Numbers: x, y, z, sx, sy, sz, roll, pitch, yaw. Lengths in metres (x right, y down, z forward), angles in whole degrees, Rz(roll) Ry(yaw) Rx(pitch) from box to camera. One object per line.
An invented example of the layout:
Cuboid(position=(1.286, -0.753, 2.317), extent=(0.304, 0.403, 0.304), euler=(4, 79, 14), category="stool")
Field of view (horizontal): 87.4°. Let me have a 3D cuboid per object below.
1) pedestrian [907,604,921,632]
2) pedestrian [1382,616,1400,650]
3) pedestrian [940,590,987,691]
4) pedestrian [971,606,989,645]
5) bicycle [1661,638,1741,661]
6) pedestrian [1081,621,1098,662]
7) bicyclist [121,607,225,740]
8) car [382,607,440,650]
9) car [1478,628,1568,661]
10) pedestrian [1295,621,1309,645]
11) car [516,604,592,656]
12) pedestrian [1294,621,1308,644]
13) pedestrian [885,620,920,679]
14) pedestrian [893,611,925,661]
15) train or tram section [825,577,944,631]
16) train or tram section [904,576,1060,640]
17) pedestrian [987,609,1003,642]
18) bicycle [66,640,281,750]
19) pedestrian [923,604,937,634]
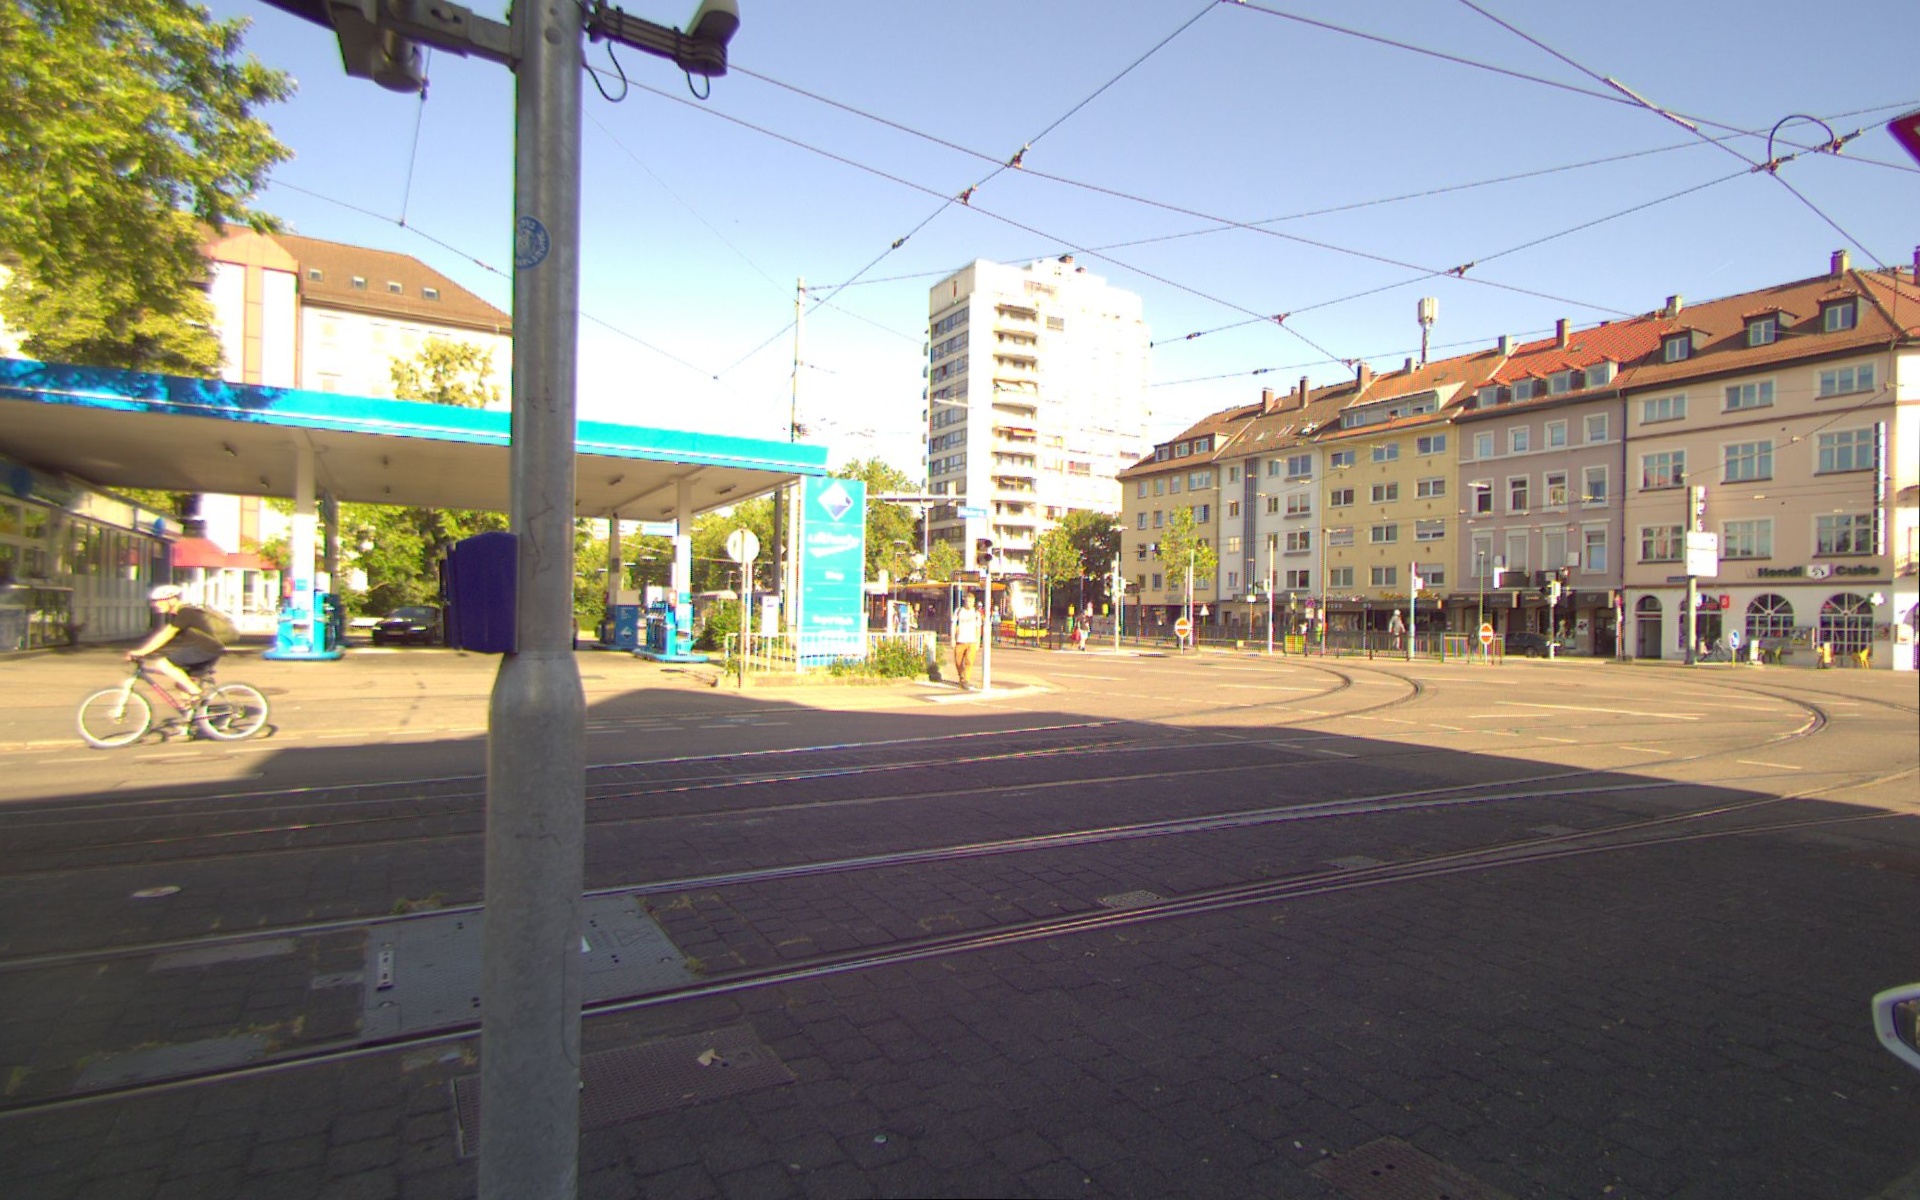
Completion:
Cuboid(position=(-2.702, 1.040, 58.781), extent=(0.580, 1.613, 0.520), euler=(2, 0, -31), category="pedestrian")
Cuboid(position=(20.811, 1.595, 48.484), extent=(0.570, 1.649, 0.522), euler=(2, 0, -31), category="pedestrian")
Cuboid(position=(0.075, 0.769, 19.353), extent=(0.778, 1.893, 0.674), euler=(2, 0, 6), category="pedestrian")
Cuboid(position=(0.999, 1.257, 50.216), extent=(0.666, 1.913, 0.520), euler=(2, 0, -31), category="pedestrian")
Cuboid(position=(37.499, 2.489, 50.894), extent=(0.989, 0.993, 3.115), euler=(2, 0, -29), category="bicycle")
Cuboid(position=(5.375, 1.720, 41.598), extent=(0.575, 1.686, 0.525), euler=(2, 0, 15), category="pedestrian")
Cuboid(position=(-8.625, 0.785, 11.009), extent=(0.552, 1.384, 0.798), euler=(2, 0, 43), category="bicyclist")
Cuboid(position=(-18.883, 0.959, 34.520), extent=(1.646, 1.316, 3.453), euler=(2, 0, -30), category="car")
Cuboid(position=(30.854, 2.414, 55.139), extent=(1.970, 1.692, 3.981), euler=(1, -1, -21), category="car")
Cuboid(position=(24.274, 2.317, 71.289), extent=(0.693, 1.656, 0.629), euler=(2, 0, -33), category="pedestrian")
Cuboid(position=(-12.181, 0.861, 30.059), extent=(1.764, 1.411, 3.455), euler=(2, 0, -28), category="car")
Cuboid(position=(24.829, 2.342, 73.131), extent=(0.693, 1.656, 0.629), euler=(2, 0, -33), category="pedestrian")
Cuboid(position=(-1.638, 1.400, 28.570), extent=(0.675, 1.656, 0.694), euler=(2, 0, -35), category="pedestrian")
Cuboid(position=(-1.685, 1.189, 33.264), extent=(0.693, 1.608, 0.820), euler=(0, -1, 35), category="pedestrian")
Cuboid(position=(-5.358, 0.196, 67.887), extent=(2.751, 3.273, 12.286), euler=(2, 0, -31), category="train or tram section")
Cuboid(position=(0.894, 0.353, 57.390), extent=(2.751, 3.273, 12.286), euler=(2, 0, -31), category="train or tram section")
Cuboid(position=(1.712, 1.250, 49.050), extent=(0.580, 1.613, 0.520), euler=(2, 0, -31), category="pedestrian")
Cuboid(position=(-8.608, 1.001, 11.061), extent=(0.567, 1.084, 1.784), euler=(2, 0, 43), category="bicycle")
Cuboid(position=(-1.661, 1.059, 56.133), extent=(0.580, 1.613, 0.520), euler=(2, 0, -31), category="pedestrian")
